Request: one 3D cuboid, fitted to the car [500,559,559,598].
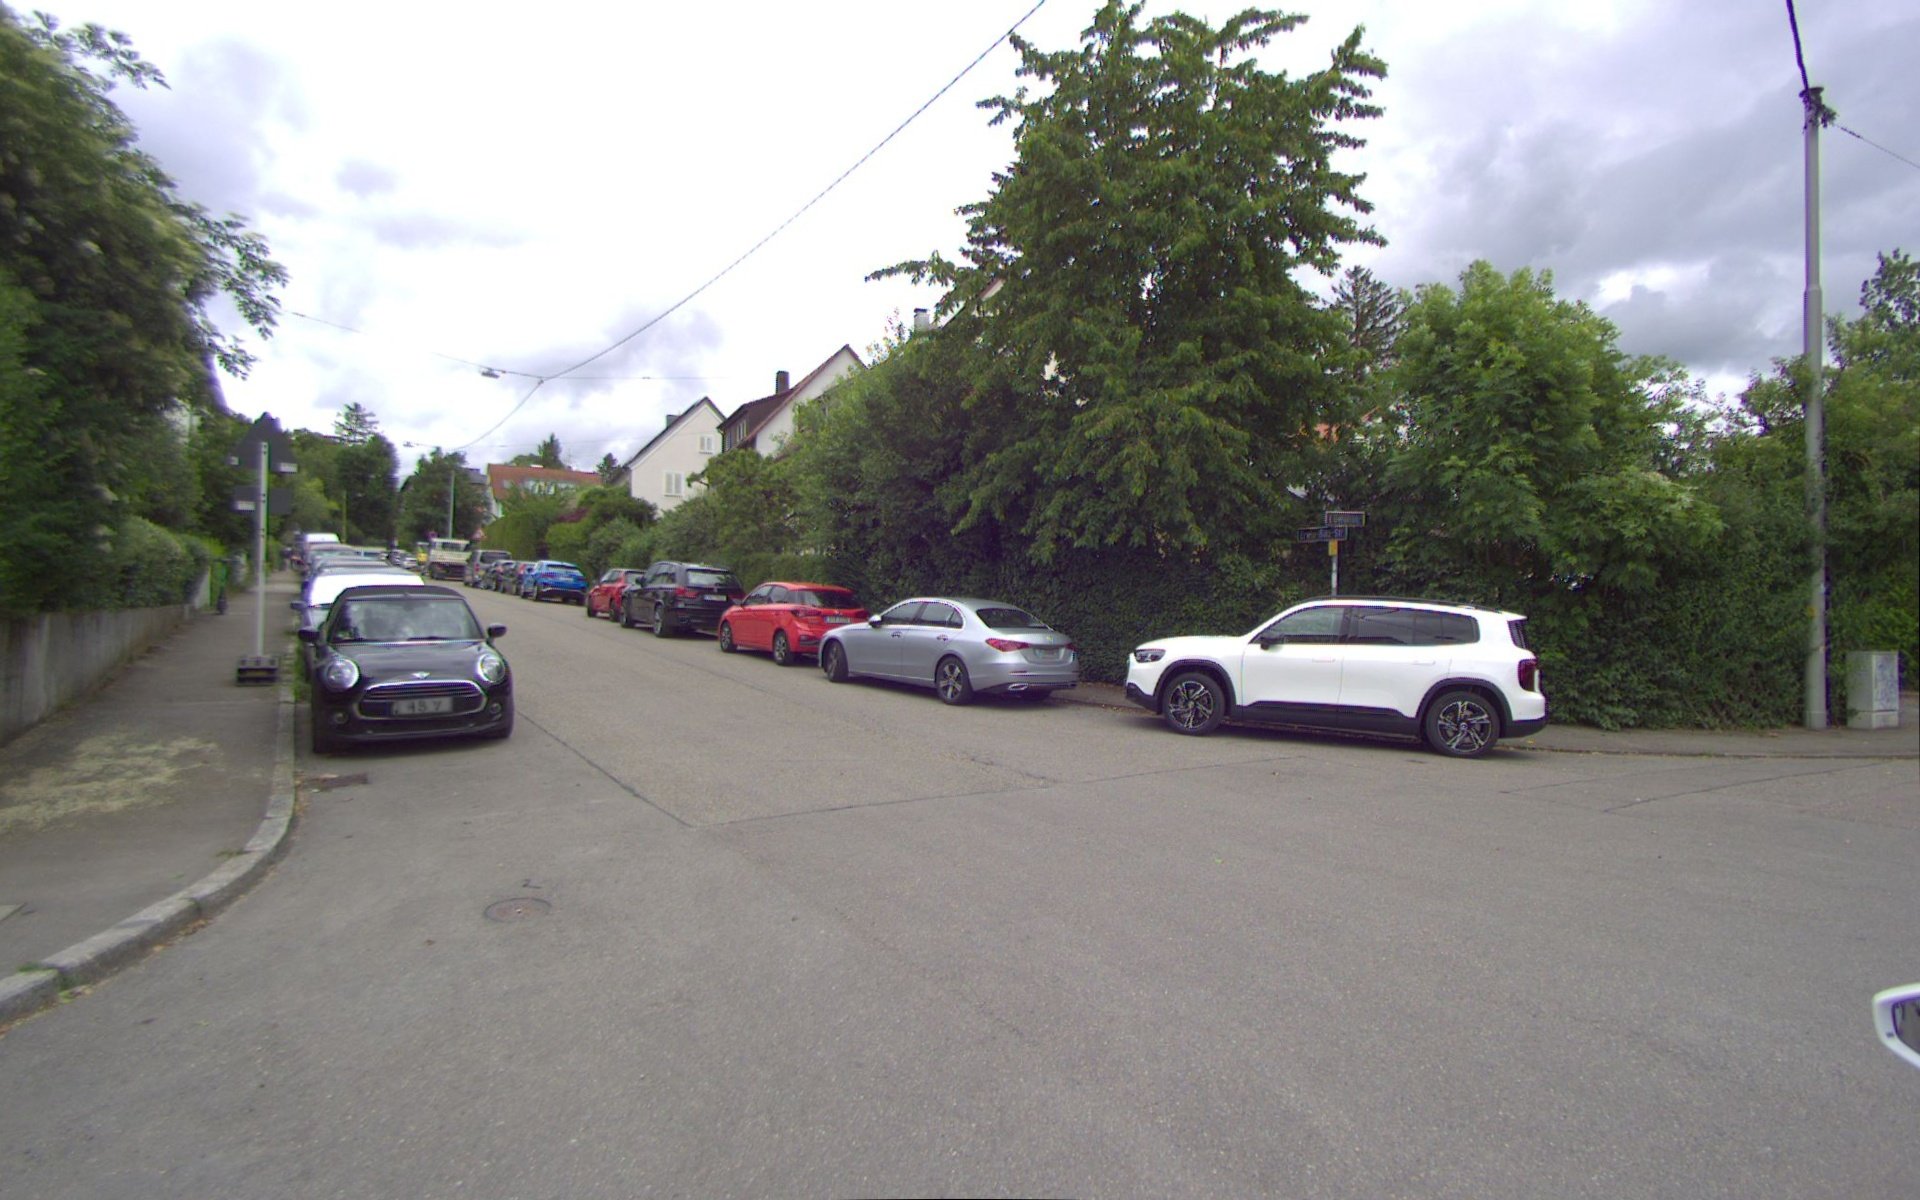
[{"bbox_3d":[-18.457,-0.950,42.963,1.616,1.486,3.988,1,2,-34],"label":"car"}]

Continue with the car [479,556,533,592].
[{"bbox_3d":[-21.216,-1.222,46.848,1.616,1.486,3.988,2,2,-34],"label":"car"}]

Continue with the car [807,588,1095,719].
[{"bbox_3d":[-0.284,0.673,15.067,1.820,1.456,4.459,1,3,-41],"label":"car"}]

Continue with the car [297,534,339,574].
[{"bbox_3d":[-41.632,-3.016,65.130,1.957,2.432,4.645,1,2,-37],"label":"car"}]

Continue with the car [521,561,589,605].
[{"bbox_3d":[-15.517,-0.667,38.374,1.616,1.486,3.988,1,2,-34],"label":"car"}]

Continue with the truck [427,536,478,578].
[{"bbox_3d":[-31.565,-2.704,62.417,2.403,2.389,4.859,2,2,-32],"label":"truck"}]

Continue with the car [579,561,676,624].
[{"bbox_3d":[-9.646,-0.243,28.973,1.616,1.571,3.987,1,3,-34],"label":"car"}]

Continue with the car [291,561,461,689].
[{"bbox_3d":[-8.905,0.253,15.101,1.869,1.503,4.688,1,3,-34],"label":"car"}]

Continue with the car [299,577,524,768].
[{"bbox_3d":[-5.839,0.580,10.501,1.768,1.543,3.685,0,2,-33],"label":"car"}]

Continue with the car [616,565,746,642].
[{"bbox_3d":[-6.764,0.040,24.065,1.745,1.571,4.210,1,2,-34],"label":"car"}]

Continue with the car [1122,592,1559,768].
[{"bbox_3d":[4.293,0.816,11.874,4.424,1.677,1.835,2,1,18],"label":"car"}]

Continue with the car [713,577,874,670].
[{"bbox_3d":[-3.285,0.387,19.271,1.616,1.456,3.752,1,3,-34],"label":"car"}]
